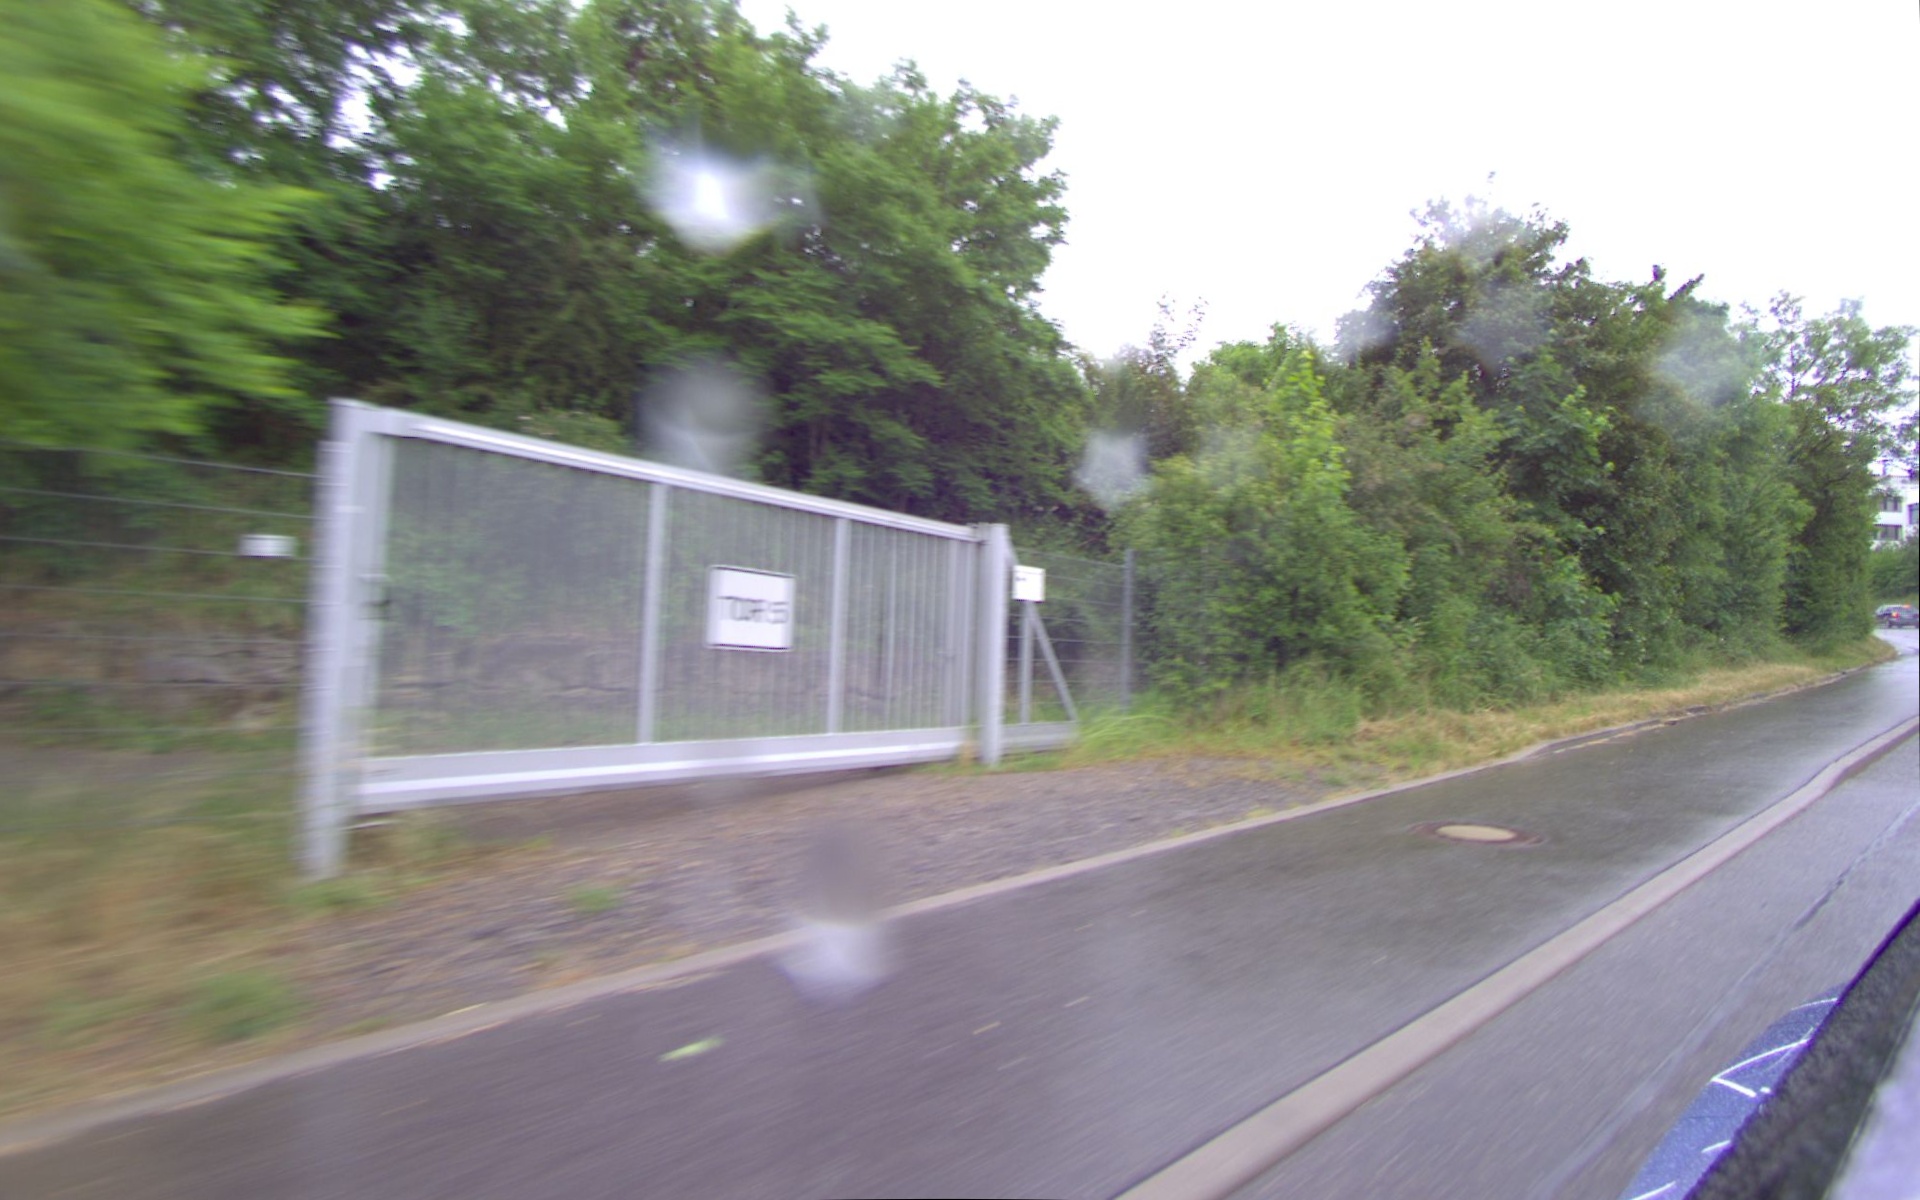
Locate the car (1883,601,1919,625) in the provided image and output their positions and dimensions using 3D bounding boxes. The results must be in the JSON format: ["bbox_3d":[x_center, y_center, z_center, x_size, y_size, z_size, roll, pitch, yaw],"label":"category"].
[{"bbox_3d":[64.324,0.870,68.408,1.853,1.572,4.222,-2,-2,29],"label":"car"}]
